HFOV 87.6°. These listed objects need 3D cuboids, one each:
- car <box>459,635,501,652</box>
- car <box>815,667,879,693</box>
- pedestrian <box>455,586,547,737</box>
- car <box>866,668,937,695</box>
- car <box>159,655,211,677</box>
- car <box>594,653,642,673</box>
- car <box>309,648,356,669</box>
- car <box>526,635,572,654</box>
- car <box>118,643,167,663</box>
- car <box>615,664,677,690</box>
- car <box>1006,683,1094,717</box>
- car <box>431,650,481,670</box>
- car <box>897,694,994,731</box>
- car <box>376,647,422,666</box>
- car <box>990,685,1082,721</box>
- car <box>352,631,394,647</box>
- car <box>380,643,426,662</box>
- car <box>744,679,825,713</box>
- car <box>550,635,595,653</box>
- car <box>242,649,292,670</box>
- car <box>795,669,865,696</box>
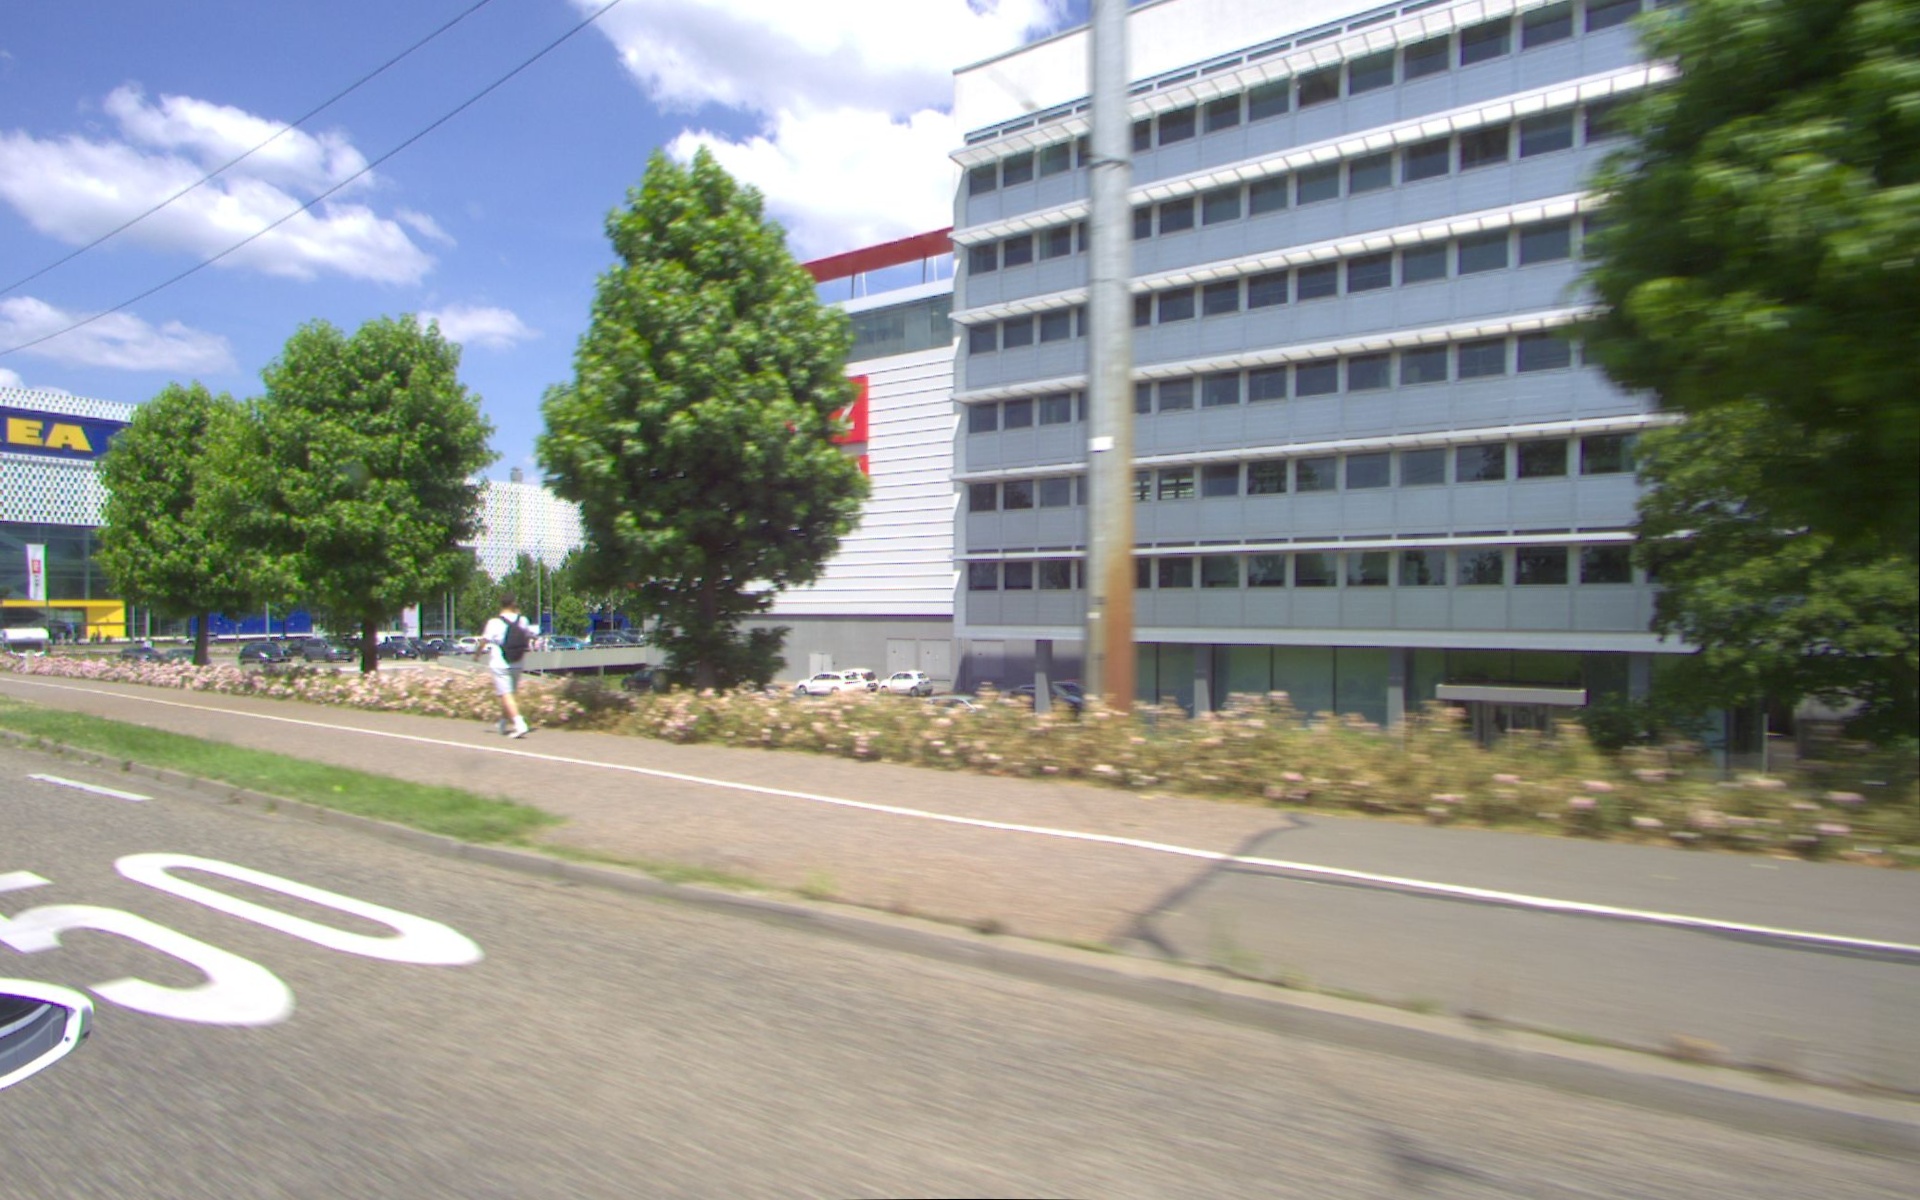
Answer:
[{"bbox_3d":[-43.059,3.868,89.809,3.830,1.501,1.570,-1,-2,30],"label":"car"},{"bbox_3d":[-7.345,5.148,64.846,3.907,1.501,1.738,-1,-2,32],"label":"car"},{"bbox_3d":[-5.770,0.754,12.593,0.912,1.815,0.667,0,-1,34],"label":"pedestrian"},{"bbox_3d":[-3.672,5.081,62.523,4.179,1.501,1.738,-1,-2,32],"label":"car"},{"bbox_3d":[-54.522,4.621,70.450,3.830,1.501,1.570,-1,-2,30],"label":"car"},{"bbox_3d":[-30.603,5.635,89.567,4.229,1.665,1.871,-1,-2,32],"label":"car"},{"bbox_3d":[-49.502,4.597,78.987,3.830,1.501,1.570,-1,-2,30],"label":"car"},{"bbox_3d":[-34.214,3.676,83.360,3.830,1.501,1.570,-1,-2,30],"label":"car"},{"bbox_3d":[-65.895,4.255,80.729,3.939,1.560,1.738,-1,-2,29],"label":"car"},{"bbox_3d":[-20.376,4.970,64.951,3.907,1.501,1.738,-1,-2,32],"label":"car"},{"bbox_3d":[4.633,5.125,51.788,4.176,1.501,1.739,-1,-2,30],"label":"car"},{"bbox_3d":[-38.766,4.598,76.998,3.830,1.501,1.570,-1,-2,30],"label":"car"},{"bbox_3d":[-0.671,5.083,45.704,4.174,1.410,1.584,-1,-2,29],"label":"car"},{"bbox_3d":[-46.474,4.663,82.941,3.830,1.501,1.570,-1,-2,30],"label":"car"},{"bbox_3d":[3.743,5.028,49.270,4.176,1.501,1.739,-1,-2,30],"label":"car"},{"bbox_3d":[-57.628,3.844,98.295,3.939,1.560,1.738,-1,-2,29],"label":"car"},{"bbox_3d":[-49.261,4.630,88.596,3.939,1.560,1.738,-1,-2,29],"label":"car"},{"bbox_3d":[-9.052,4.914,51.526,4.029,1.501,1.738,-1,-2,32],"label":"car"},{"bbox_3d":[-33.142,3.766,85.674,3.830,1.501,1.570,-1,-2,30],"label":"car"},{"bbox_3d":[-51.946,4.420,75.061,3.830,1.501,1.570,-1,-2,30],"label":"car"},{"bbox_3d":[-8.128,5.087,62.337,4.179,1.501,1.738,-1,-2,32],"label":"car"}]
